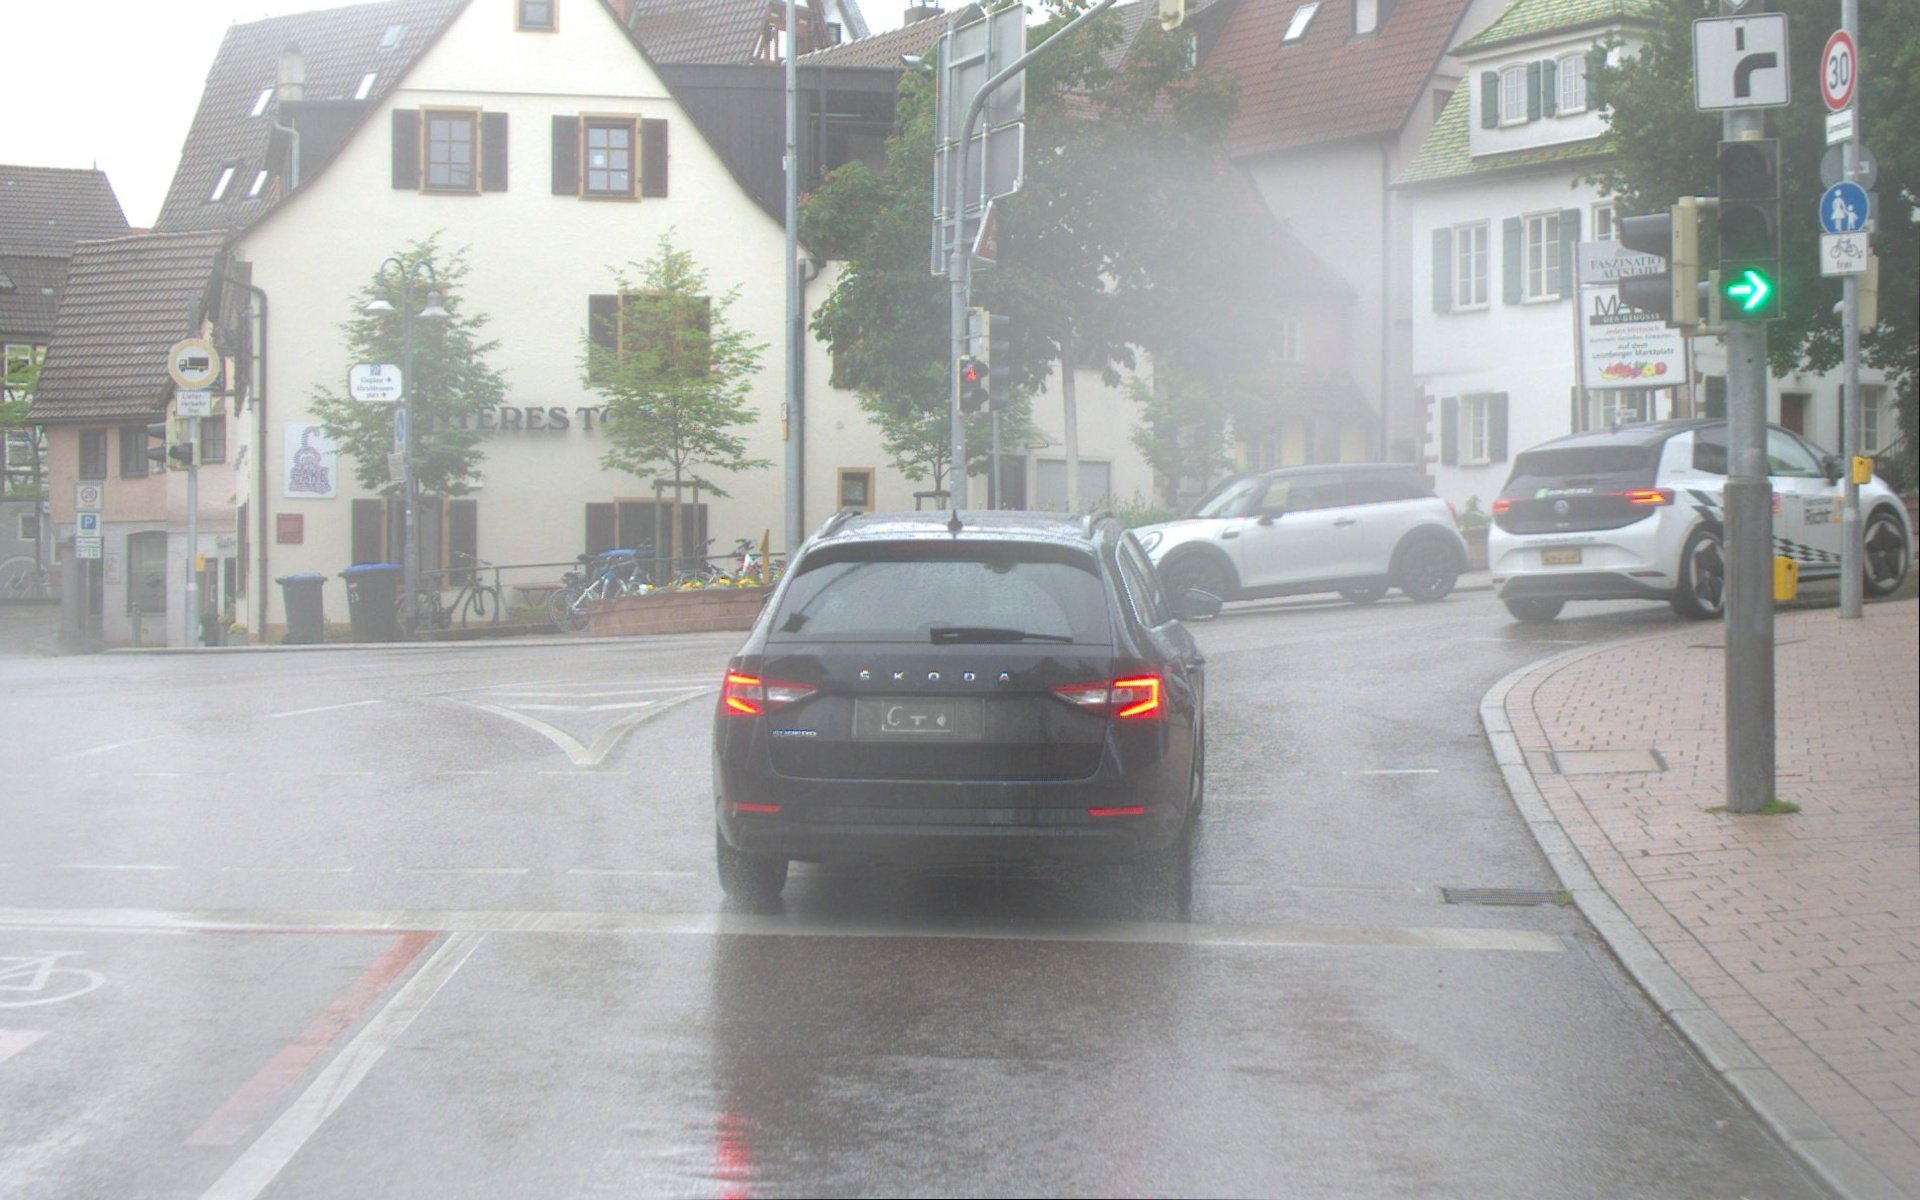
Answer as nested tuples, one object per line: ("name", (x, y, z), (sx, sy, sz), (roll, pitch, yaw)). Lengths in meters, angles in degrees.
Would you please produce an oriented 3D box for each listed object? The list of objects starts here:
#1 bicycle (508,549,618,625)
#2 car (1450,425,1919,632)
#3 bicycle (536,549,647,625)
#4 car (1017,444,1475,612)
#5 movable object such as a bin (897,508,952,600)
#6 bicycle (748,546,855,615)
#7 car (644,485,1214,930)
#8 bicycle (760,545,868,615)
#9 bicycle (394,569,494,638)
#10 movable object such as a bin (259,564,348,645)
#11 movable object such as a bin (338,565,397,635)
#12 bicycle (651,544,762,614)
("bicycle", (-5.181, -0.171, 44.921), (1.466, 0.909, 0.392), (-4, 2, -44))
("car", (5.905, -0.604, 27.745), (1.861, 1.468, 3.990), (-1, 2, 43))
("bicycle", (-4.788, -0.174, 44.682), (1.466, 0.909, 0.392), (-4, 2, -44))
("car", (2.794, -0.717, 33.907), (3.986, 1.426, 2.001), (-3, 2, -17))
("movable object such as a bin", (-0.499, -0.648, 48.442), (0.683, 1.272, 0.748), (1, 1, -6))
("bicycle", (-2.180, -0.271, 47.301), (1.465, 0.909, 0.393), (-1, 4, -32))
("car", (-0.027, 0.302, 13.929), (1.887, 1.443, 4.357), (-3, 2, 2))
("bicycle", (-1.986, -0.276, 46.923), (1.465, 0.909, 0.393), (-1, 4, -32))
("bicycle", (-6.582, 0.041, 43.923), (0.338, 0.815, 1.434), (3, 4, 36))
("movable object such as a bin", (-8.294, 0.053, 43.479), (0.724, 0.923, 0.787), (-3, 3, 22))
("movable object such as a bin", (-7.756, -0.006, 44.985), (0.586, 0.898, 0.584), (-1, 1, -31))
("bicycle", (-3.416, -0.286, 46.393), (1.465, 0.909, 0.393), (-1, 4, -32))
